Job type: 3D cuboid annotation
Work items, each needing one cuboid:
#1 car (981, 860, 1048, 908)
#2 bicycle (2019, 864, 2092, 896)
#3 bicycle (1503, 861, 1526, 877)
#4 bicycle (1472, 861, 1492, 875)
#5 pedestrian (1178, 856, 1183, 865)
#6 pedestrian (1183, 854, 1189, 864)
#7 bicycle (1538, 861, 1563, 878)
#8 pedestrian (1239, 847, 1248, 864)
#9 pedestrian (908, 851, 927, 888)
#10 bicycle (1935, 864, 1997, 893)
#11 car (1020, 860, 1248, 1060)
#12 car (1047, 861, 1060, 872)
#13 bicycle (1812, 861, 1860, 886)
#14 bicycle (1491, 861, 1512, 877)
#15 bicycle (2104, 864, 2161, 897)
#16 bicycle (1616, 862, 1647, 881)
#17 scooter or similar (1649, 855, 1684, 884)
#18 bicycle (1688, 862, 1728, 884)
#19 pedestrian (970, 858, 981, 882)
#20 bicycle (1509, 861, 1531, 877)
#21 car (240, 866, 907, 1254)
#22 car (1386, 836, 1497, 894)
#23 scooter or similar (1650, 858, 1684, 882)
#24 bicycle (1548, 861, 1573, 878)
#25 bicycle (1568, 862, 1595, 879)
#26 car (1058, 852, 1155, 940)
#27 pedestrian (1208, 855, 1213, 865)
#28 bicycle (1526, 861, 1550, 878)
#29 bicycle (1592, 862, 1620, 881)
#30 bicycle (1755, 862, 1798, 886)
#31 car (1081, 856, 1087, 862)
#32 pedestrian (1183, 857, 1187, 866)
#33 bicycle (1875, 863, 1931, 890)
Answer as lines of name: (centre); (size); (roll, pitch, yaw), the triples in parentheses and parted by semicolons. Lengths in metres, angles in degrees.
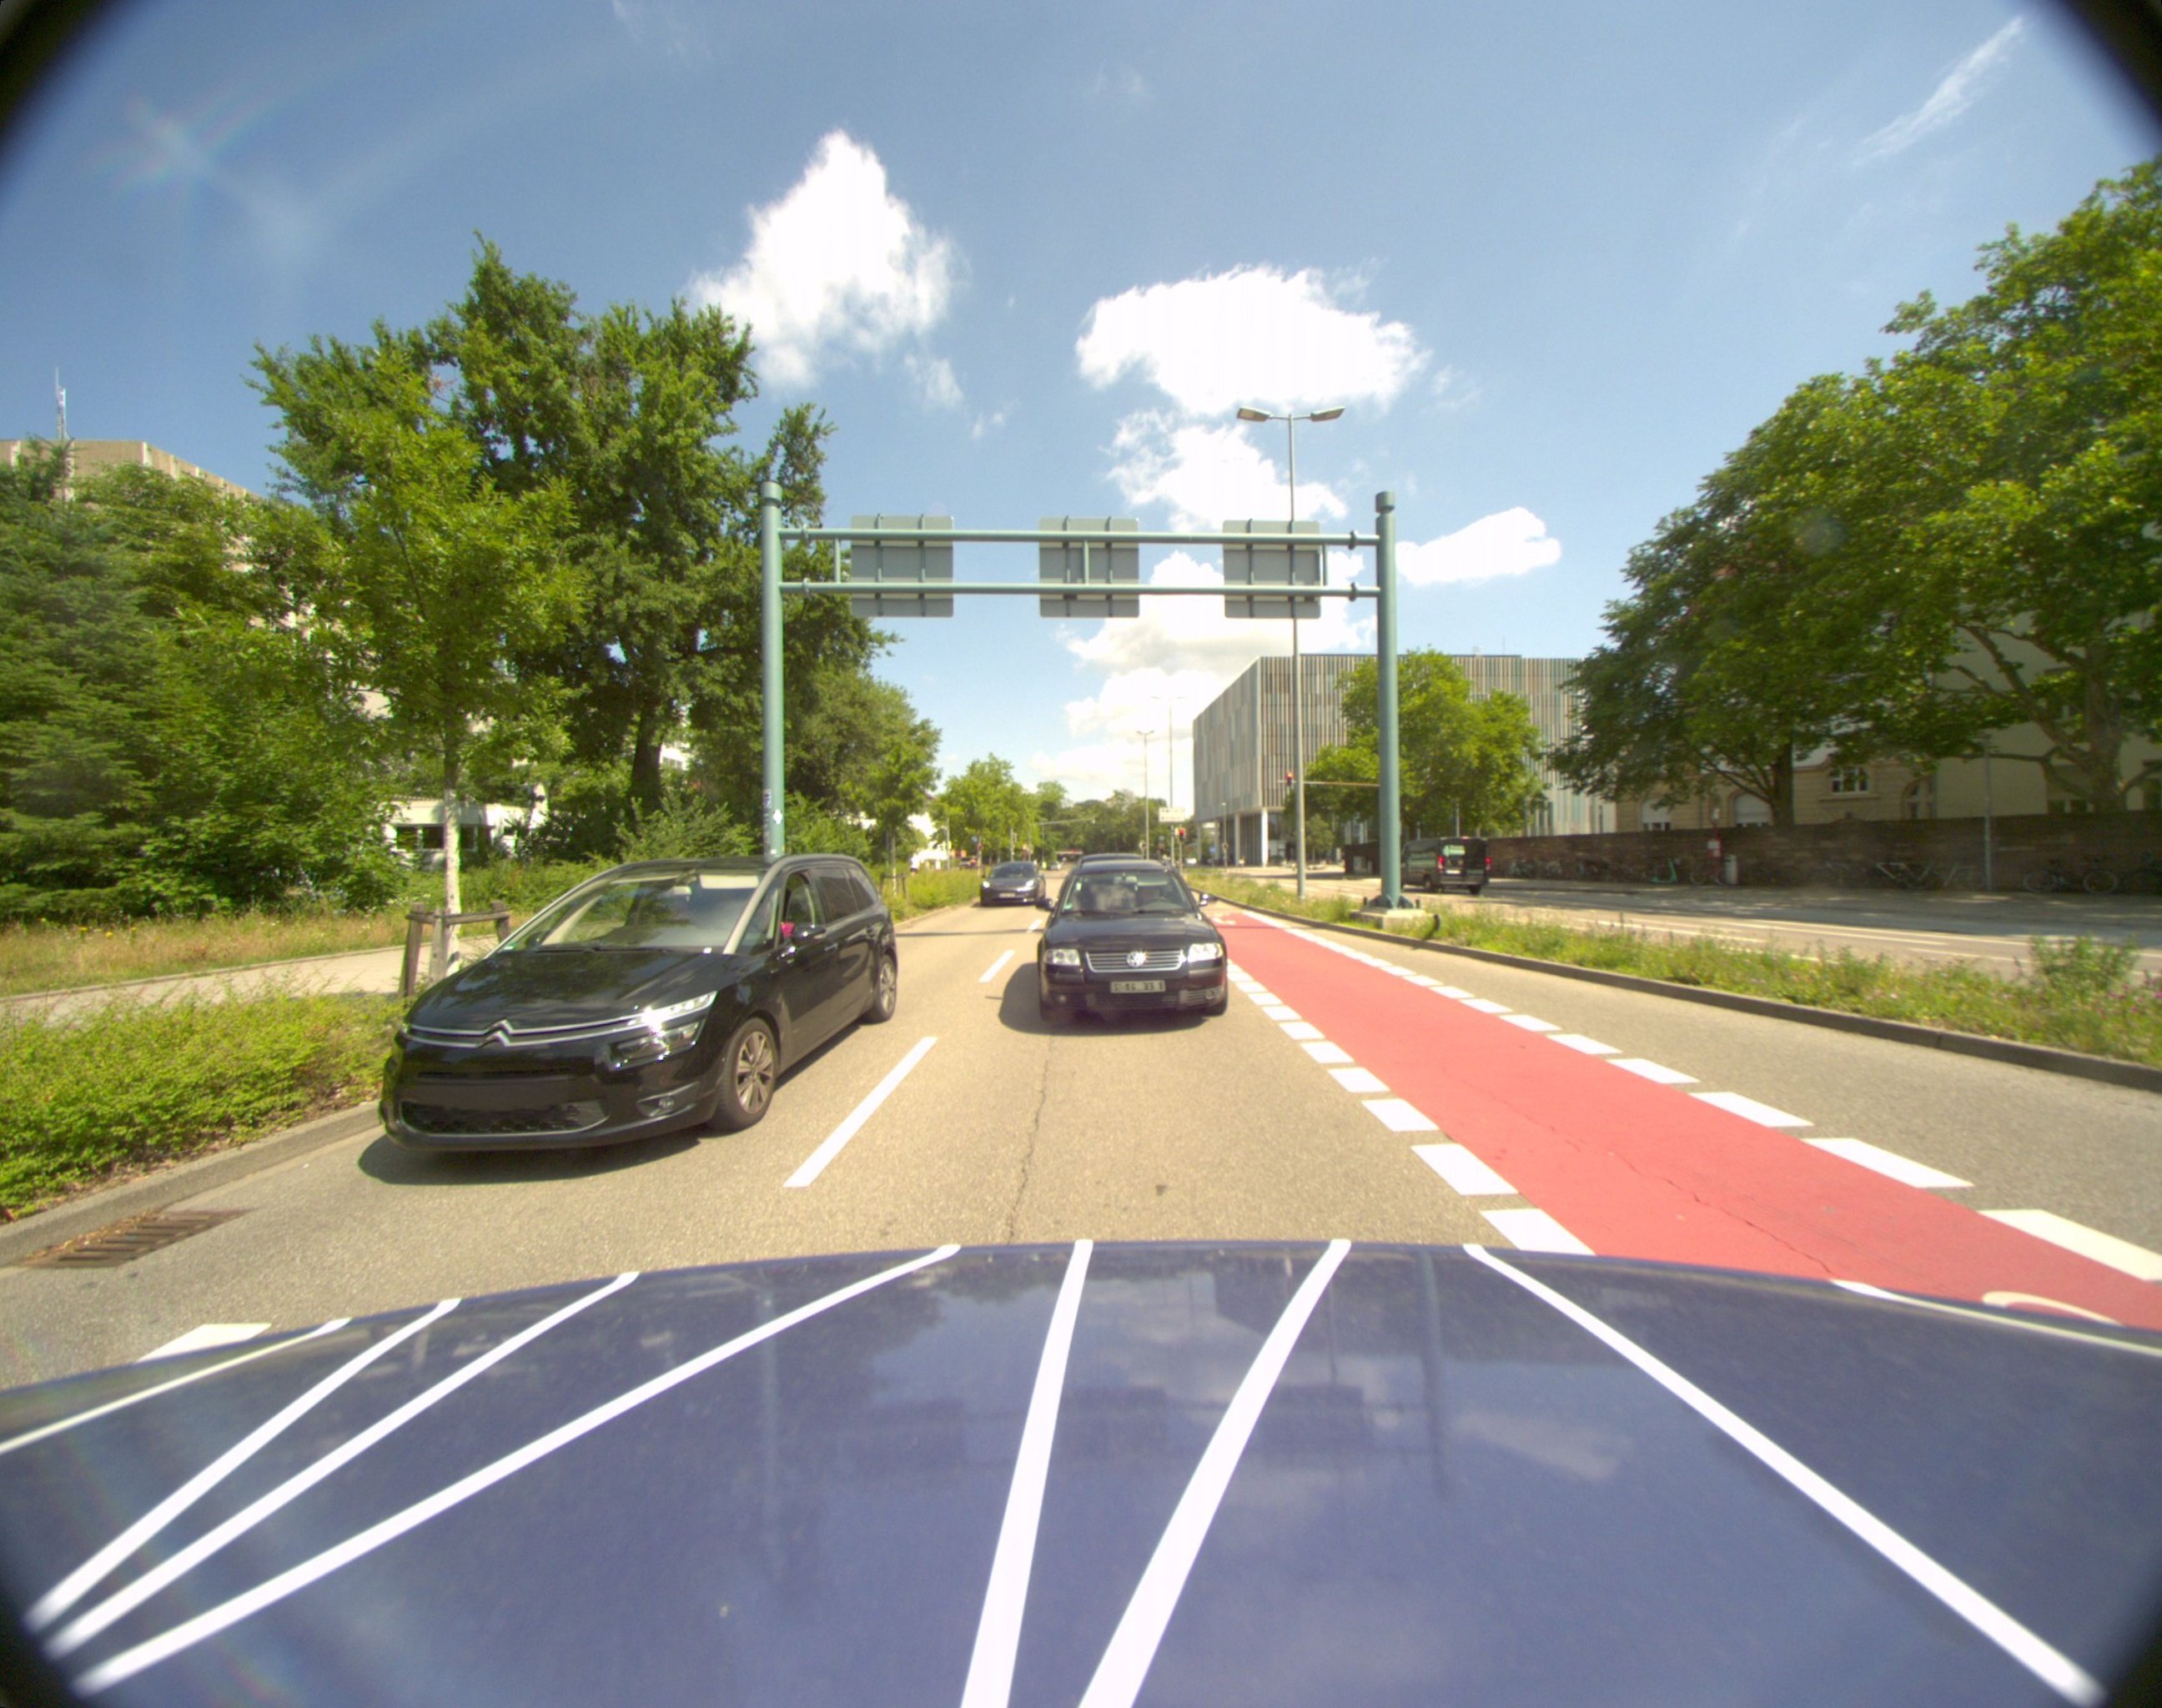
car: (-2.157, 0.955, 25.550); (1.806, 1.361, 4.157); (-1, 1, 1)
bicycle: (26.633, 0.694, 20.789); (0.265, 0.826, 1.234); (-1, 0, -13)
bicycle: (22.869, 0.799, 40.105); (0.265, 0.826, 1.234); (-1, 0, -11)
bicycle: (22.919, 0.800, 43.445); (0.265, 0.826, 1.234); (-1, 0, -11)
pedestrian: (16.119, 1.030, 122.984); (0.696, 1.445, 0.689); (-1, 0, 5)
pedestrian: (16.937, 0.806, 122.332); (0.793, 1.681, 0.706); (-1, 0, 1)
bicycle: (23.177, 0.753, 37.542); (0.265, 0.826, 1.234); (-1, 0, -11)
pedestrian: (19.605, 0.167, 91.769); (0.864, 2.002, 0.995); (-1, 0, -1)
pedestrian: (-8.951, 0.841, 41.687); (0.845, 2.026, 0.901); (-1, 0, -4)
bicycle: (26.235, 0.725, 22.544); (0.265, 0.826, 1.235); (-1, 0, -11)
car: (0.447, 0.853, 8.241); (1.723, 1.472, 4.594); (-3, 0, 1)
car: (-4.343, 1.953, 122.146); (1.816, 1.598, 4.479); (-3, 0, 1)
bicycle: (25.676, 0.662, 25.866); (0.265, 0.826, 1.235); (-1, 0, -11)
bicycle: (23.144, 0.821, 41.818); (0.265, 0.826, 1.234); (-1, 0, -11)
bicycle: (27.121, 0.677, 19.362); (0.265, 0.826, 1.234); (-1, 0, -13)
bicycle: (24.157, 0.774, 33.351); (0.265, 0.826, 1.235); (-1, 0, -11)
scooter or similar: (23.881, 0.625, 31.005); (0.265, 1.182, 1.234); (-1, 0, -11)
bicycle: (24.811, 0.743, 30.096); (0.265, 0.826, 1.233); (-1, 0, -21)
pedestrian: (-7.984, 1.205, 57.626); (0.640, 1.754, 0.885); (-1, 0, -17)
bicycle: (23.351, 0.793, 40.423); (0.265, 0.826, 1.234); (-1, 0, -11)
car: (-2.774, 0.956, 5.620); (1.816, 1.598, 4.479); (-3, 0, 1)
car: (14.715, 0.430, 31.426); (2.153, 2.162, 5.018); (1, 0, 0)
scooter or similar: (24.567, 0.670, 31.866); (0.266, 1.014, 1.140); (-1, 0, -22)
bicycle: (23.655, 0.752, 37.484); (0.265, 0.826, 1.235); (-1, 0, -11)
bicycle: (23.836, 0.783, 36.210); (0.265, 0.826, 1.235); (-1, 0, -11)
car: (0.497, 0.778, 16.276); (1.723, 1.545, 4.594); (-3, 0, 1)
pedestrian: (19.394, 0.933, 113.940); (0.696, 1.445, 0.689); (-1, 0, 6)
bicycle: (23.460, 0.791, 39.013); (0.265, 0.826, 1.235); (-1, 0, -11)
bicycle: (24.068, 0.785, 34.861); (0.265, 0.826, 1.235); (-1, 0, -11)
bicycle: (25.181, 0.710, 27.536); (0.265, 0.826, 1.235); (-1, 0, -11)
car: (0.886, 1.538, 232.546); (1.758, 1.581, 4.275); (-1, 0, -4)
pedestrian: (17.777, 1.296, 130.108); (0.696, 1.445, 0.689); (-1, 0, 5)
bicycle: (26.011, 0.703, 24.062); (0.265, 0.826, 1.235); (-1, 0, -11)
